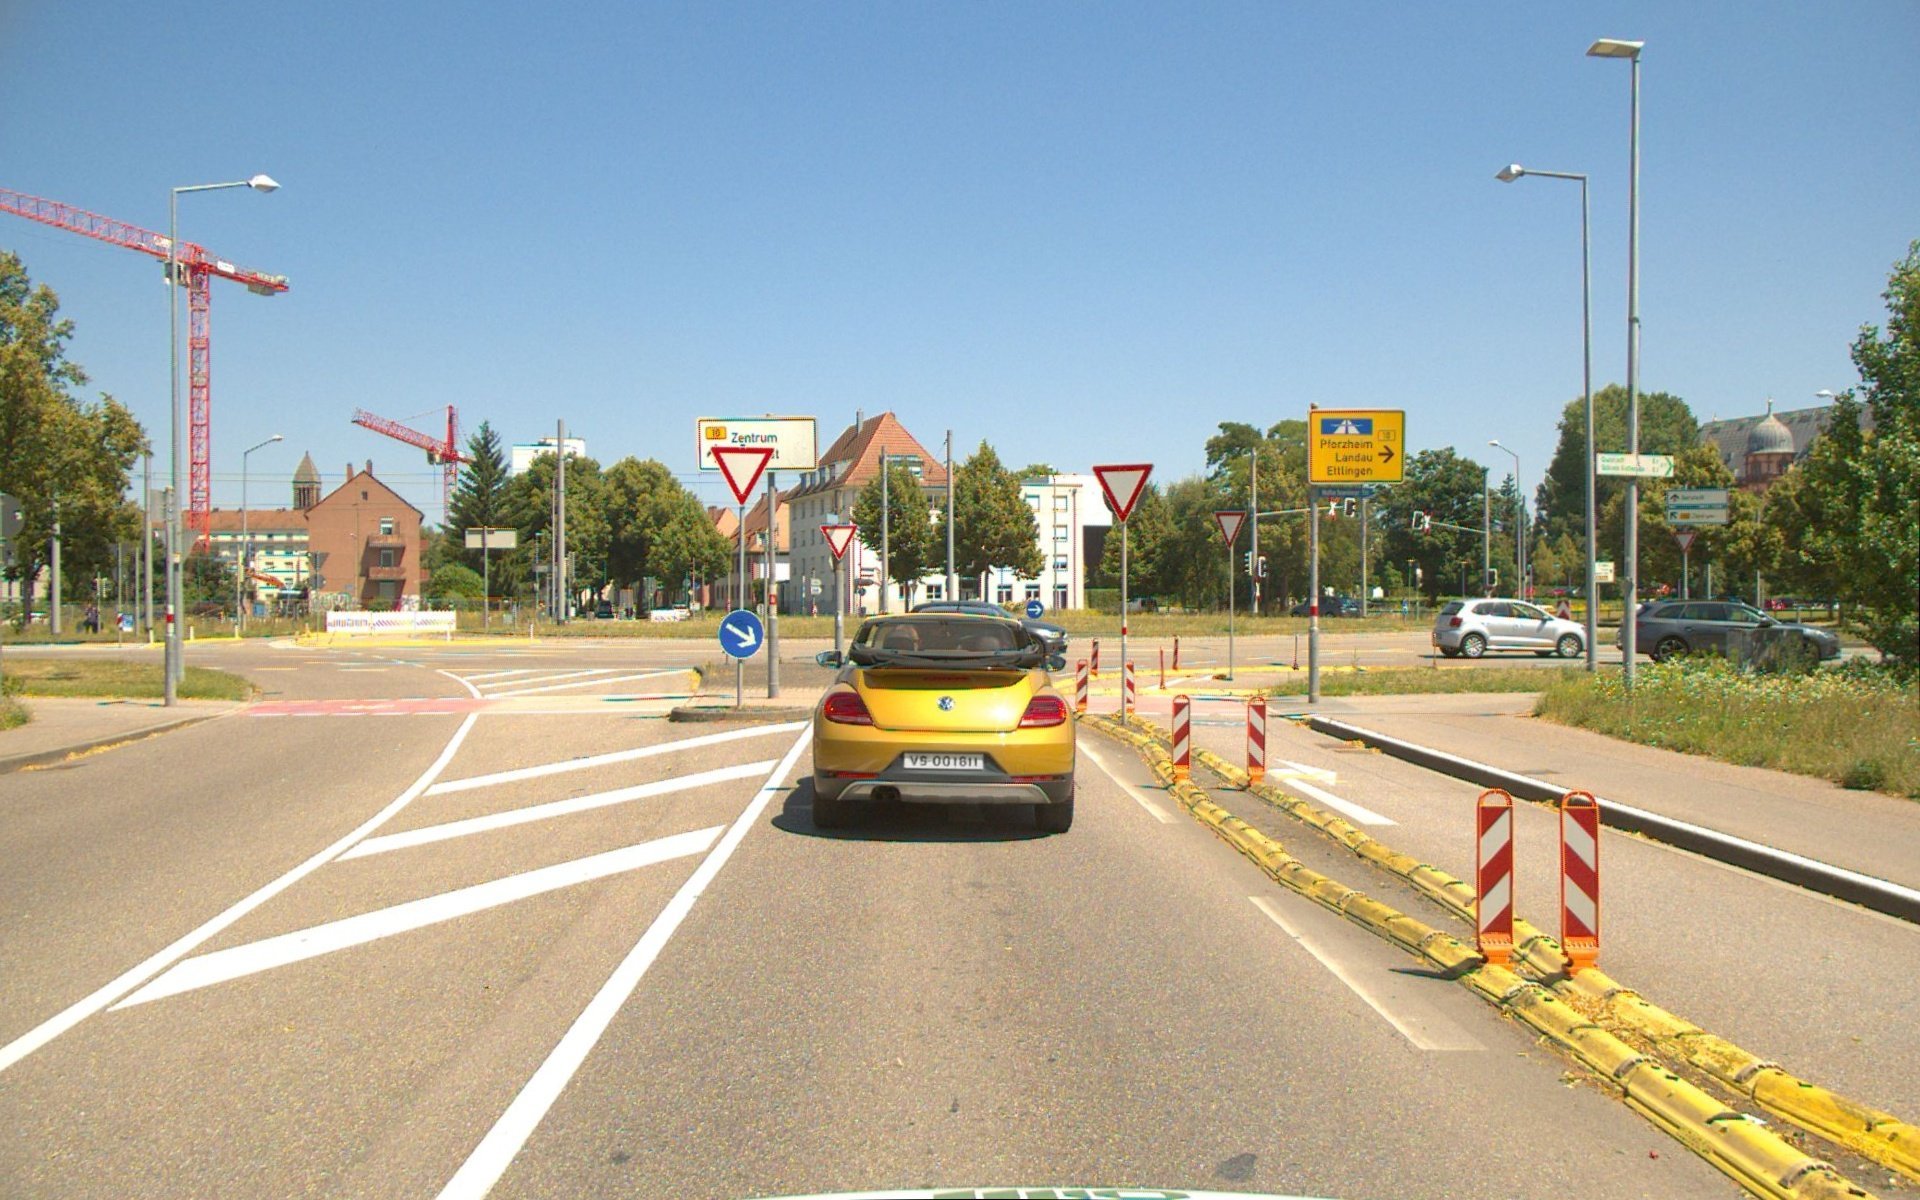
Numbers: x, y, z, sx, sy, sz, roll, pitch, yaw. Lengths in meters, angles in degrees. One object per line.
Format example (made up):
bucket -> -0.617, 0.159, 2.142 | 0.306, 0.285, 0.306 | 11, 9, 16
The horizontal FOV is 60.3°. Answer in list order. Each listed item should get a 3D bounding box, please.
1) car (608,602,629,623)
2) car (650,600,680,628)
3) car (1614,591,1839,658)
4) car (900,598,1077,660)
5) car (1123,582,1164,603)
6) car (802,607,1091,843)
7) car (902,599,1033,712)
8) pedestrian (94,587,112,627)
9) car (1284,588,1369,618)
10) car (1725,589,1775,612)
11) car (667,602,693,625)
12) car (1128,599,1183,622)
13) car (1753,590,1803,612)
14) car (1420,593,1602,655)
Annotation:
car -> -34.143, 1.207, 165.399 | 1.959, 2.049, 3.986 | 1, -1, -13
car -> -22.335, 1.041, 125.235 | 1.959, 2.049, 3.986 | 1, -1, -13
car -> 17.120, 0.541, 37.174 | 4.347, 1.443, 2.001 | -1, 0, 17
car -> 0.713, 0.687, 40.154 | 3.981, 1.427, 1.754 | -1, 1, 16
car -> 18.703, -0.773, 168.396 | 3.902, 2.049, 2.001 | 1, -1, 14
car -> -0.109, 0.786, 12.111 | 1.788, 1.427, 3.661 | 1, 0, -1
car -> 0.034, 0.756, 24.659 | 1.761, 1.465, 3.998 | 0, 1, -3
pedestrian -> -44.532, 0.376, 85.941 | 0.589, 2.049, 0.594 | 1, -1, -1
car -> 19.165, 0.141, 86.521 | 1.985, 1.490, 3.934 | 2, -1, -45
car -> 73.861, 0.039, 154.690 | 3.923, 2.049, 1.991 | 1, -1, 38
car -> -24.730, 1.189, 145.907 | 1.959, 2.049, 3.986 | 1, -1, -13
car -> 15.582, 0.818, 131.697 | 3.918, 1.713, 1.993 | 1, -1, -14
car -> 77.201, 0.112, 156.200 | 3.923, 2.049, 1.991 | 1, -1, 38
car -> 13.668, 0.576, 41.167 | 3.908, 1.447, 1.781 | -1, 0, -3
